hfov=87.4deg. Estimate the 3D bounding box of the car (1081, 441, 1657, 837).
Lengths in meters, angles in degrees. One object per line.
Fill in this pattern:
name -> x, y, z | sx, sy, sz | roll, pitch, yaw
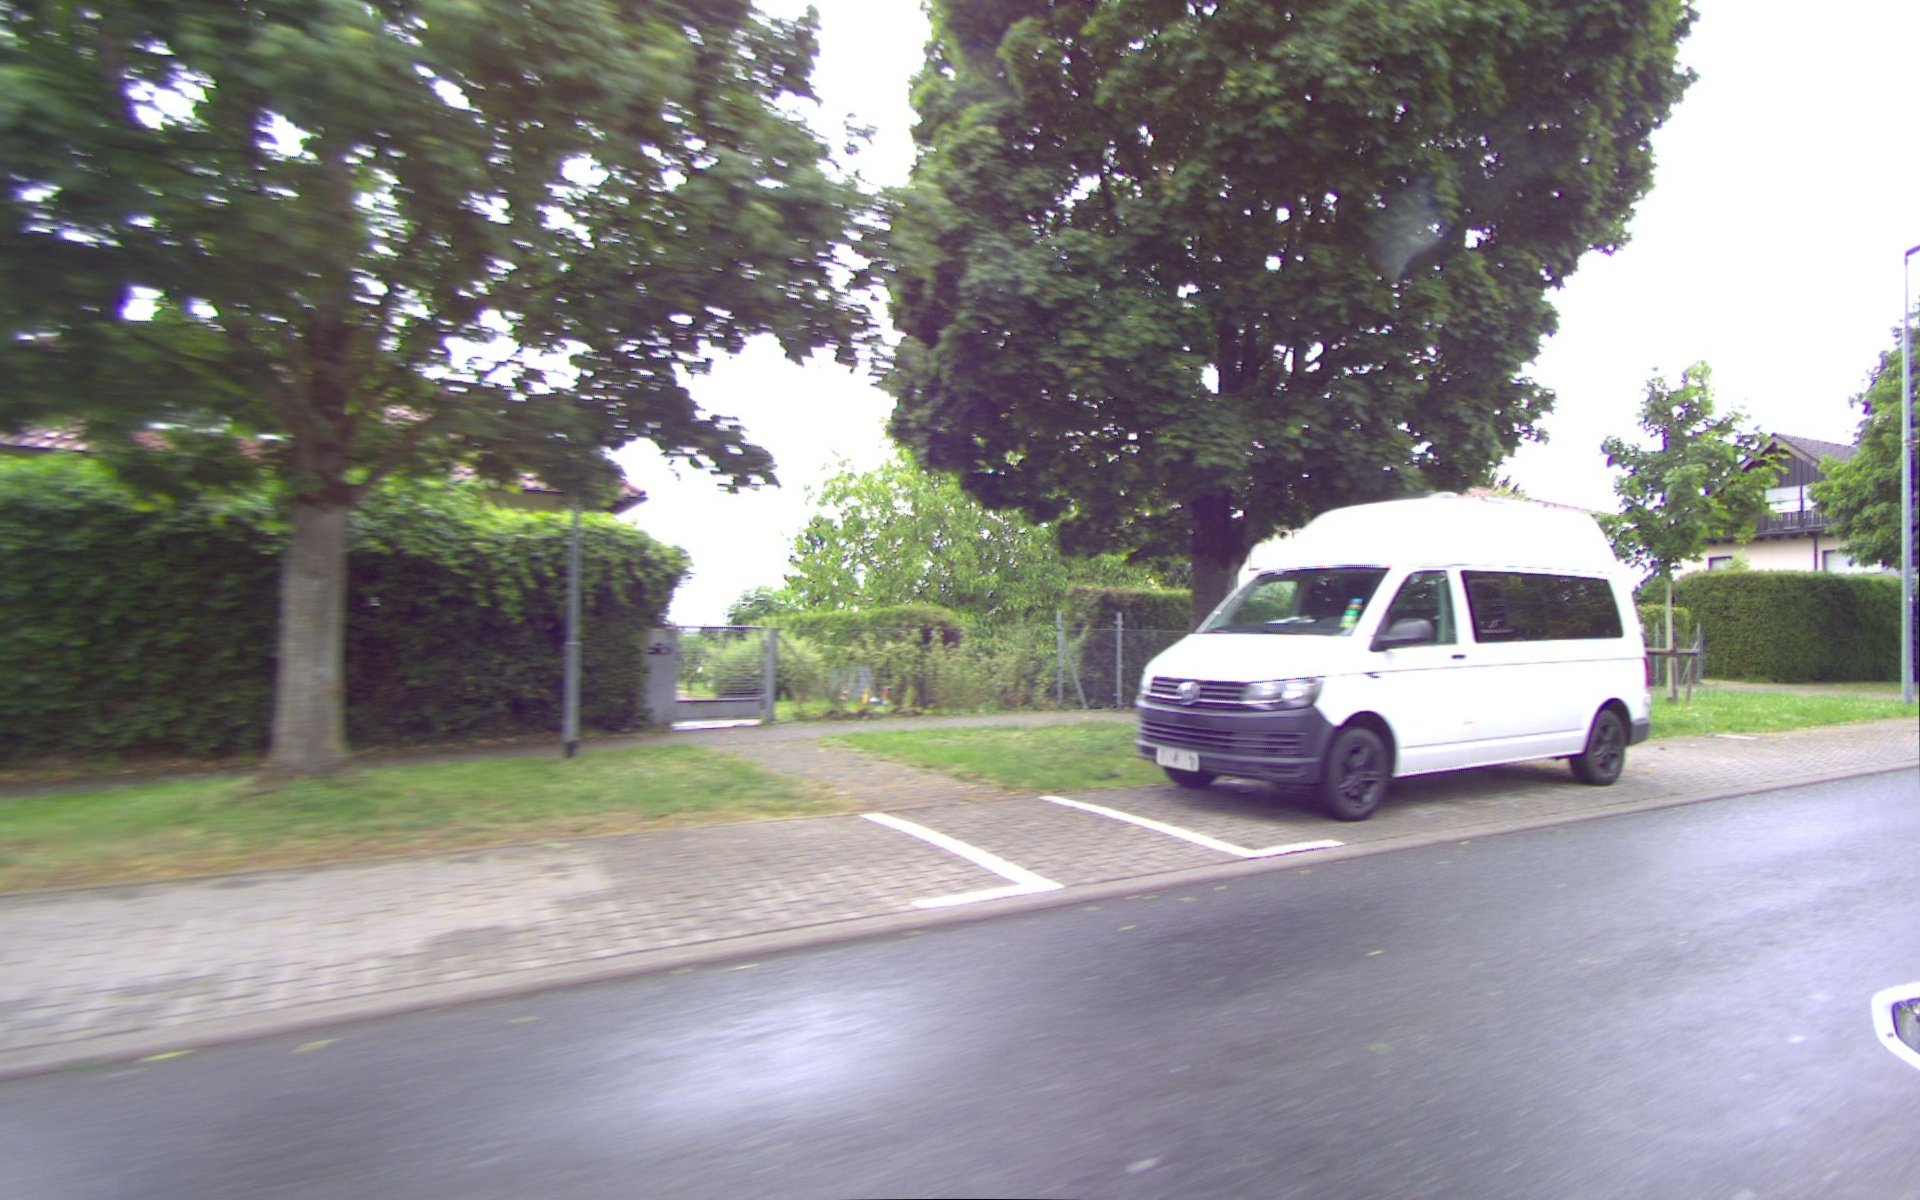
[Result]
car -> 3.714, 0.319, 8.779 | 5.173, 2.595, 1.984 | 1, -2, -31
